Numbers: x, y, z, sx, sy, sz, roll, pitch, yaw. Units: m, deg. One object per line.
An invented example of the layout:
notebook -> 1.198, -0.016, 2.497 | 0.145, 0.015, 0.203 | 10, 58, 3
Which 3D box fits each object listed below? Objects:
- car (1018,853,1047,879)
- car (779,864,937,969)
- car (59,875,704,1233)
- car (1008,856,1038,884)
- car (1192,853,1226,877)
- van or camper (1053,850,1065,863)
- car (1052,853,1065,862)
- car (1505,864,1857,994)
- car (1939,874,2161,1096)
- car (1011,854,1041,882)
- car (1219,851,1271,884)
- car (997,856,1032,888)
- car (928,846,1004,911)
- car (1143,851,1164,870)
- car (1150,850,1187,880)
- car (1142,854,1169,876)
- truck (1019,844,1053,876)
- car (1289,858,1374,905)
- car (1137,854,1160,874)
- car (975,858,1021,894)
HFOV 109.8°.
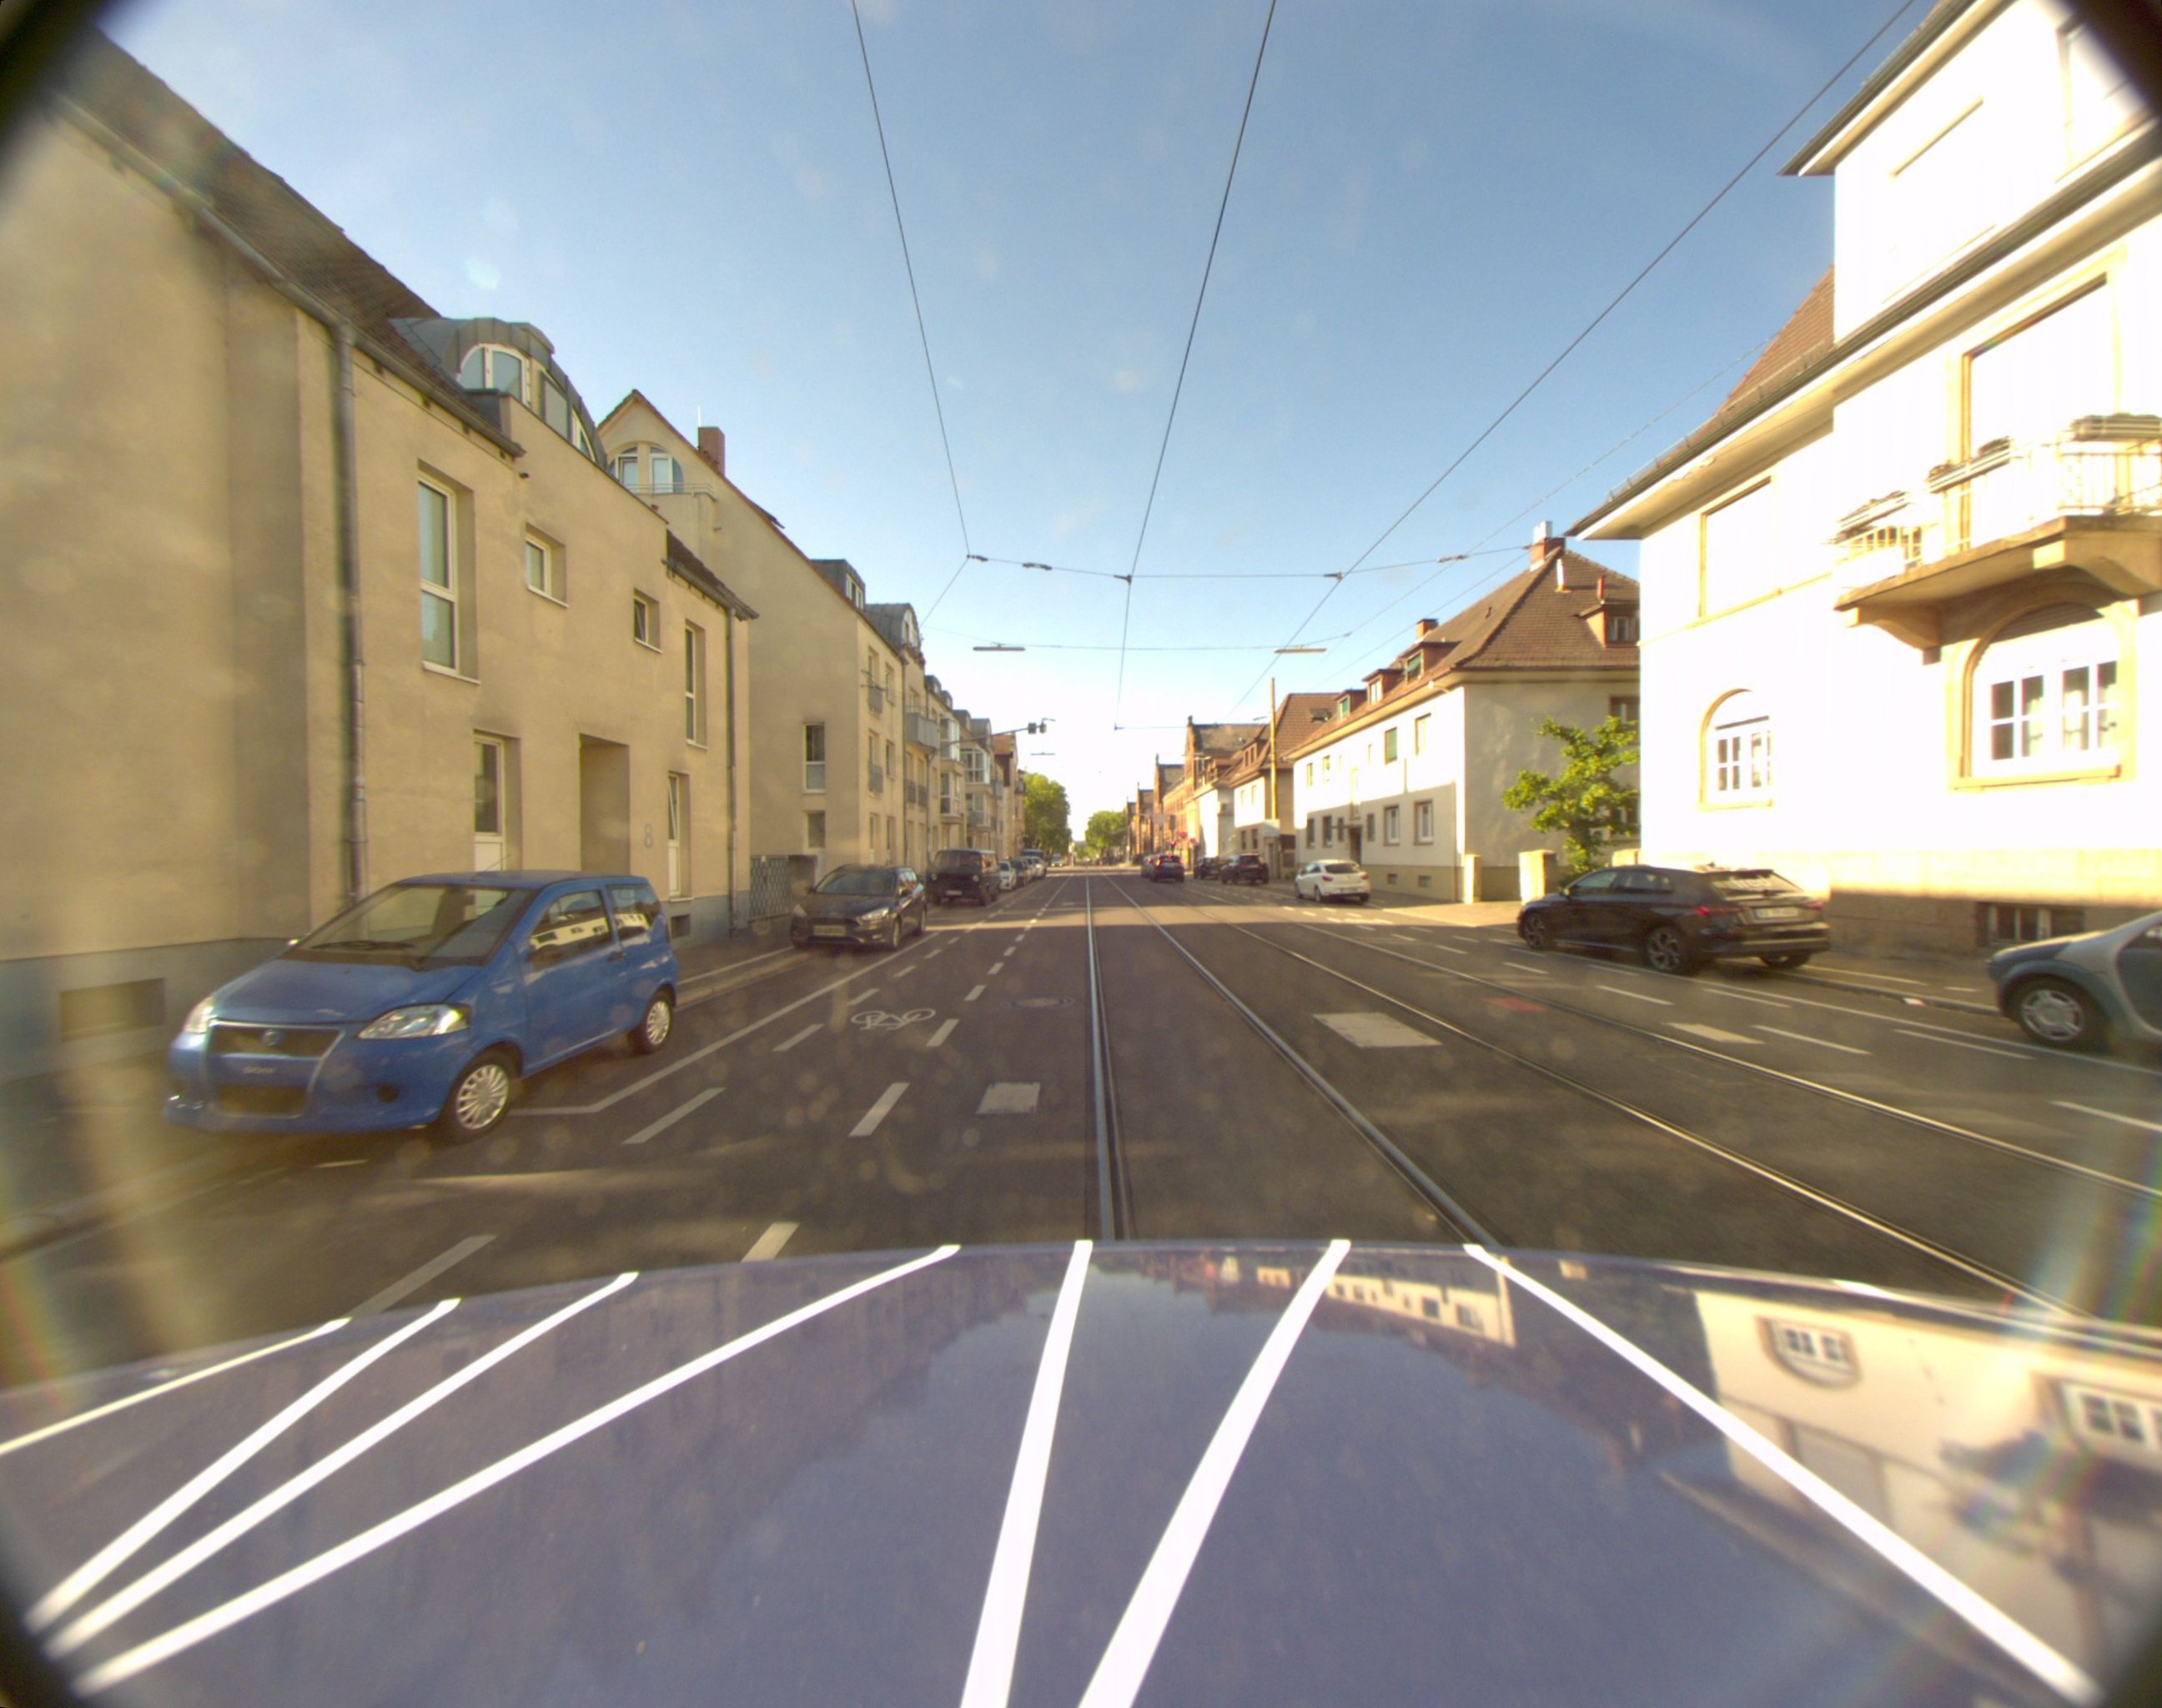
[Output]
car -> -3.491, 0.855, 55.642 | 1.743, 1.736, 4.255 | -2, 0, 1
car -> -4.052, 1.039, 14.592 | 1.749, 1.589, 4.433 | -2, 0, -1
car -> -4.204, 1.016, 5.339 | 1.461, 1.589, 3.293 | -2, 0, -1
car -> -3.437, 0.911, 45.407 | 1.500, 1.548, 3.364 | -2, 0, 0
car -> 8.872, 0.725, 52.872 | 1.619, 1.618, 3.921 | 1, 0, 0
van or camper -> -4.058, 0.455, 138.496 | 1.998, 2.346, 5.600 | -1, -1, 0
car -> -3.790, 0.633, 128.302 | 1.984, 1.539, 4.035 | -1, -1, 1
car -> 8.364, 0.925, 11.197 | 1.667, 1.468, 4.249 | -1, 0, -3
car -> 8.456, 0.948, 4.828 | 1.681, 1.468, 3.835 | -2, 0, 1
car -> -3.597, 0.894, 50.219 | 1.606, 1.690, 3.989 | -2, 0, 1
car -> 8.815, 0.691, 41.220 | 1.766, 1.695, 4.555 | 1, 0, 0
car -> -3.557, 0.938, 41.078 | 1.558, 1.548, 3.652 | -2, 0, 0
car -> -3.899, 0.780, 26.488 | 1.910, 1.975, 4.562 | -2, 0, 0
car -> 6.311, 0.535, 66.238 | 1.742, 1.601, 4.716 | 1, 0, 5
car -> 5.196, 0.627, 45.599 | 1.708, 1.695, 4.364 | 1, 0, 1
car -> 5.227, 0.724, 53.739 | 1.621, 1.452, 4.075 | 1, 0, 2
truck -> -3.617, 0.446, 61.936 | 2.301, 2.463, 6.146 | 0, 0, 1
car -> 8.550, 0.888, 26.236 | 1.635, 1.449, 4.015 | 1, 0, 1
car -> 5.201, 0.778, 59.063 | 1.586, 1.452, 3.613 | 1, 0, 2
car -> -3.840, 0.992, 35.862 | 1.681, 1.482, 4.172 | -2, 0, 0
